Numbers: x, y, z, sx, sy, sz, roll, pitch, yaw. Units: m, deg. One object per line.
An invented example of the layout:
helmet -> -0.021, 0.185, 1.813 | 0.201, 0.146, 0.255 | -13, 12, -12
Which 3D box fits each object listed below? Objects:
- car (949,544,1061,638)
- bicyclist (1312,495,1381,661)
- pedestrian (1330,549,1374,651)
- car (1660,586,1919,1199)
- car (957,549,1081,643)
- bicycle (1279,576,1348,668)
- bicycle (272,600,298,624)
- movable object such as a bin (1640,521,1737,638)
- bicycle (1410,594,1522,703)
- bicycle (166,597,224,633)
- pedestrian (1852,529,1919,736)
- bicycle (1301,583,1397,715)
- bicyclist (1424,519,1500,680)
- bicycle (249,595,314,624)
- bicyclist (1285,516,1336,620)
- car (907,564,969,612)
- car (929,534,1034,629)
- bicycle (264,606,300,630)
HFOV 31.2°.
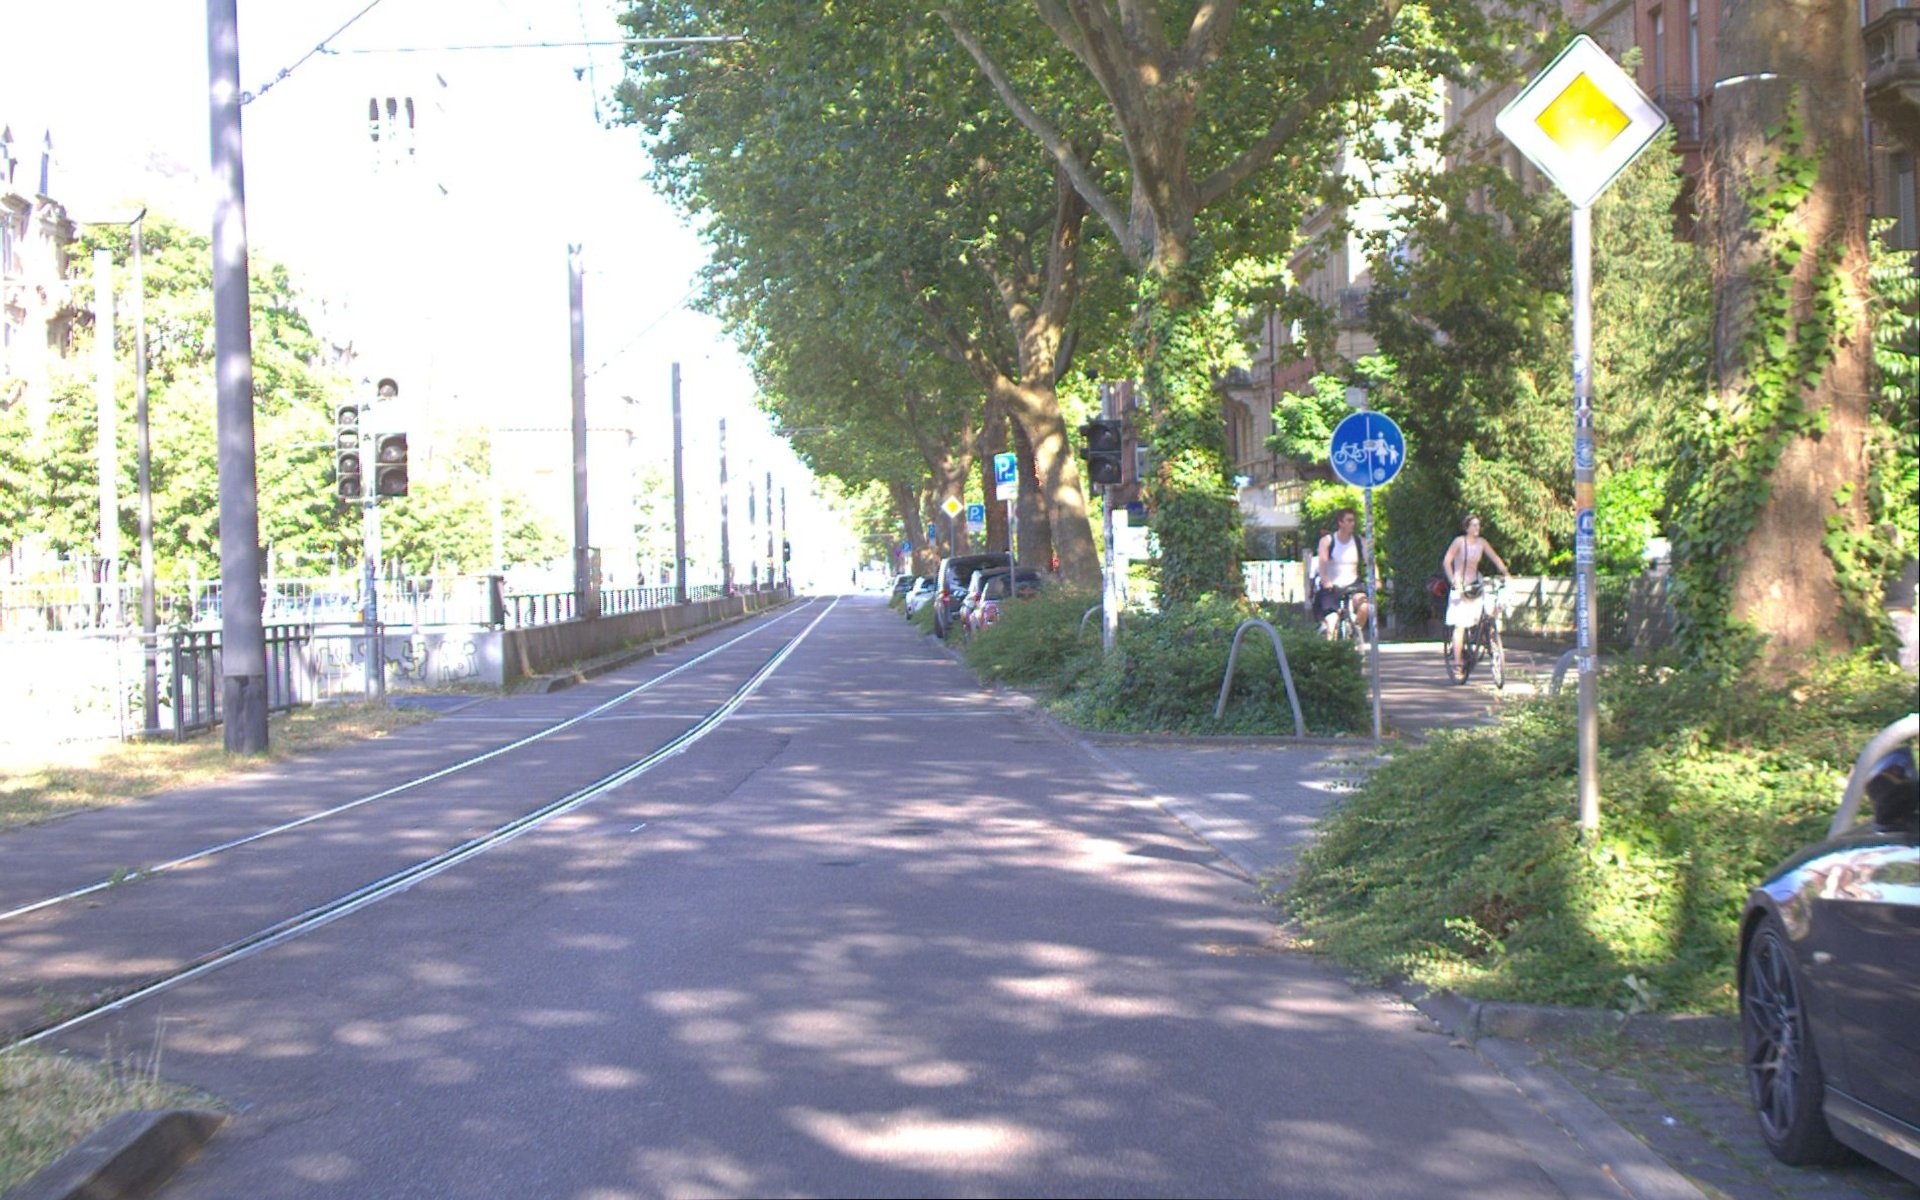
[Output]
car -> 0.772, -0.149, 61.873 | 1.714, 1.543, 4.501 | -3, 0, -2
bicyclist -> 3.887, -0.228, 34.584 | 0.543, 1.620, 0.644 | -2, 3, -3
pedestrian -> 6.386, -0.001, 56.017 | 0.530, 1.622, 0.618 | -4, 2, -1
car -> 2.761, 0.673, 6.800 | 1.676, 1.389, 4.570 | -3, 1, -1
car -> 0.927, -0.050, 56.032 | 1.714, 1.457, 4.000 | -1, 0, -3
bicycle -> 4.780, 0.281, 46.589 | 0.560, 1.174, 2.226 | -2, 1, -3
bicycle -> -29.869, 0.537, 152.044 | 0.454, 1.002, 1.944 | 1, -3, -32
movable object such as a bin -> 9.568, -0.272, 45.172 | 0.906, 1.459, 1.084 | -4, 1, -3
bicycle -> 5.245, 0.488, 35.741 | 0.560, 1.034, 1.933 | -4, 2, -9
bicycle -> -25.764, 0.507, 115.839 | 1.808, 1.174, 0.562 | 1, 0, 1
pedestrian -> 7.275, 0.243, 26.563 | 0.539, 1.544, 0.607 | -2, 3, -3
bicycle -> 3.907, 0.470, 34.631 | 0.560, 1.174, 2.226 | -2, 3, -3
bicyclist -> 5.189, -0.012, 35.575 | 0.542, 1.620, 0.644 | -3, 1, -8
bicycle -> -25.960, 0.361, 131.597 | 2.368, 1.095, 0.557 | 0, 1, -32
bicyclist -> 4.748, -0.437, 46.554 | 0.543, 1.375, 0.644 | -2, 2, -3
car -> -0.714, -0.403, 110.419 | 1.802, 1.472, 4.647 | -2, 0, -2
car -> 0.456, -0.451, 78.109 | 1.993, 2.007, 5.203 | -3, 1, -3
bicycle -> -26.069, 0.687, 132.212 | 1.265, 0.902, 0.539 | 0, 1, -32
